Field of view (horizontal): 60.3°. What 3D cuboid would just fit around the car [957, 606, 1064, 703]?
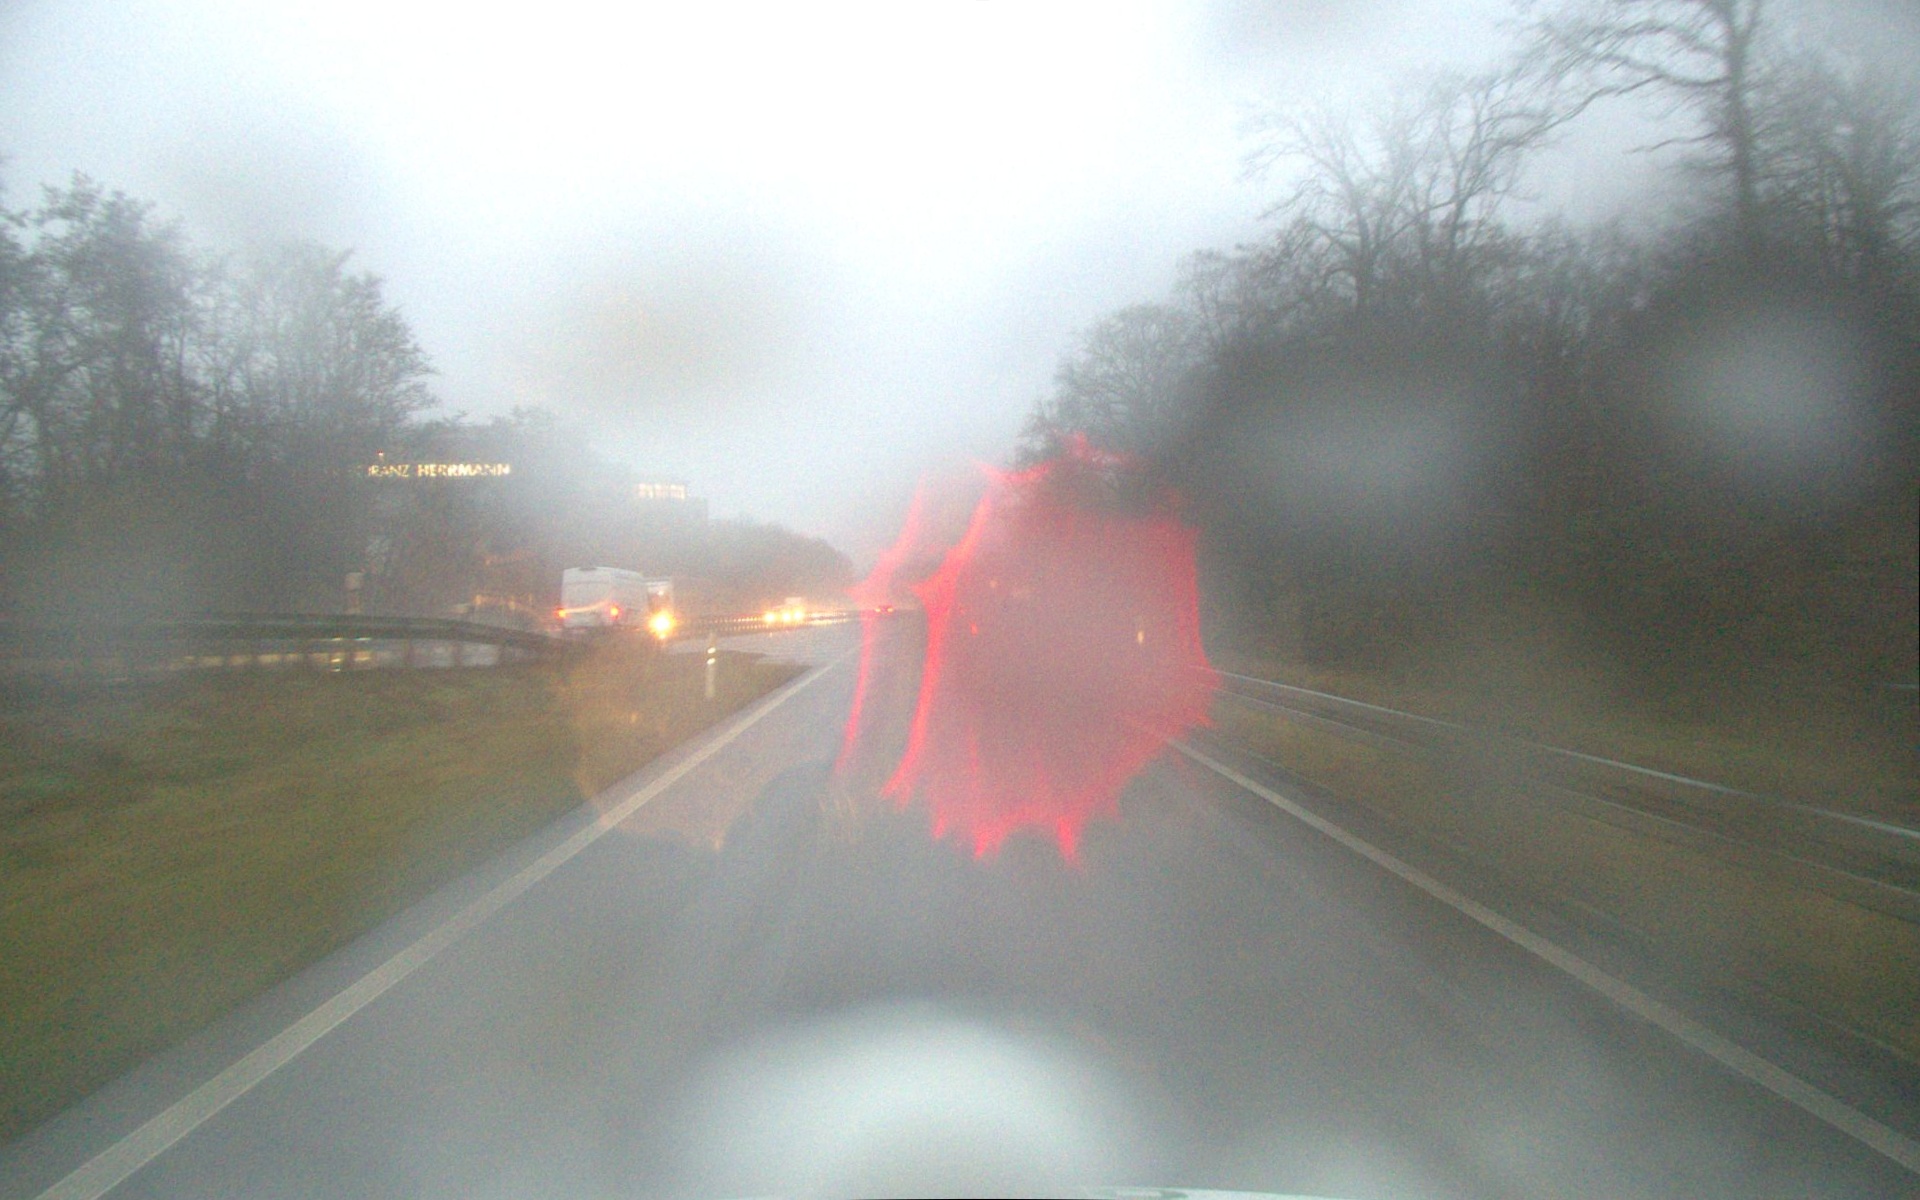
[{"bbox_3d":[0.883,0.937,30.271,1.697,1.453,3.765,6,0,1],"label":"car"}]

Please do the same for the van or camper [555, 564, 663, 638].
[{"bbox_3d":[-12.118,0.056,57.522,2.220,2.455,5.582,0,0,4],"label":"van or camper"}]
